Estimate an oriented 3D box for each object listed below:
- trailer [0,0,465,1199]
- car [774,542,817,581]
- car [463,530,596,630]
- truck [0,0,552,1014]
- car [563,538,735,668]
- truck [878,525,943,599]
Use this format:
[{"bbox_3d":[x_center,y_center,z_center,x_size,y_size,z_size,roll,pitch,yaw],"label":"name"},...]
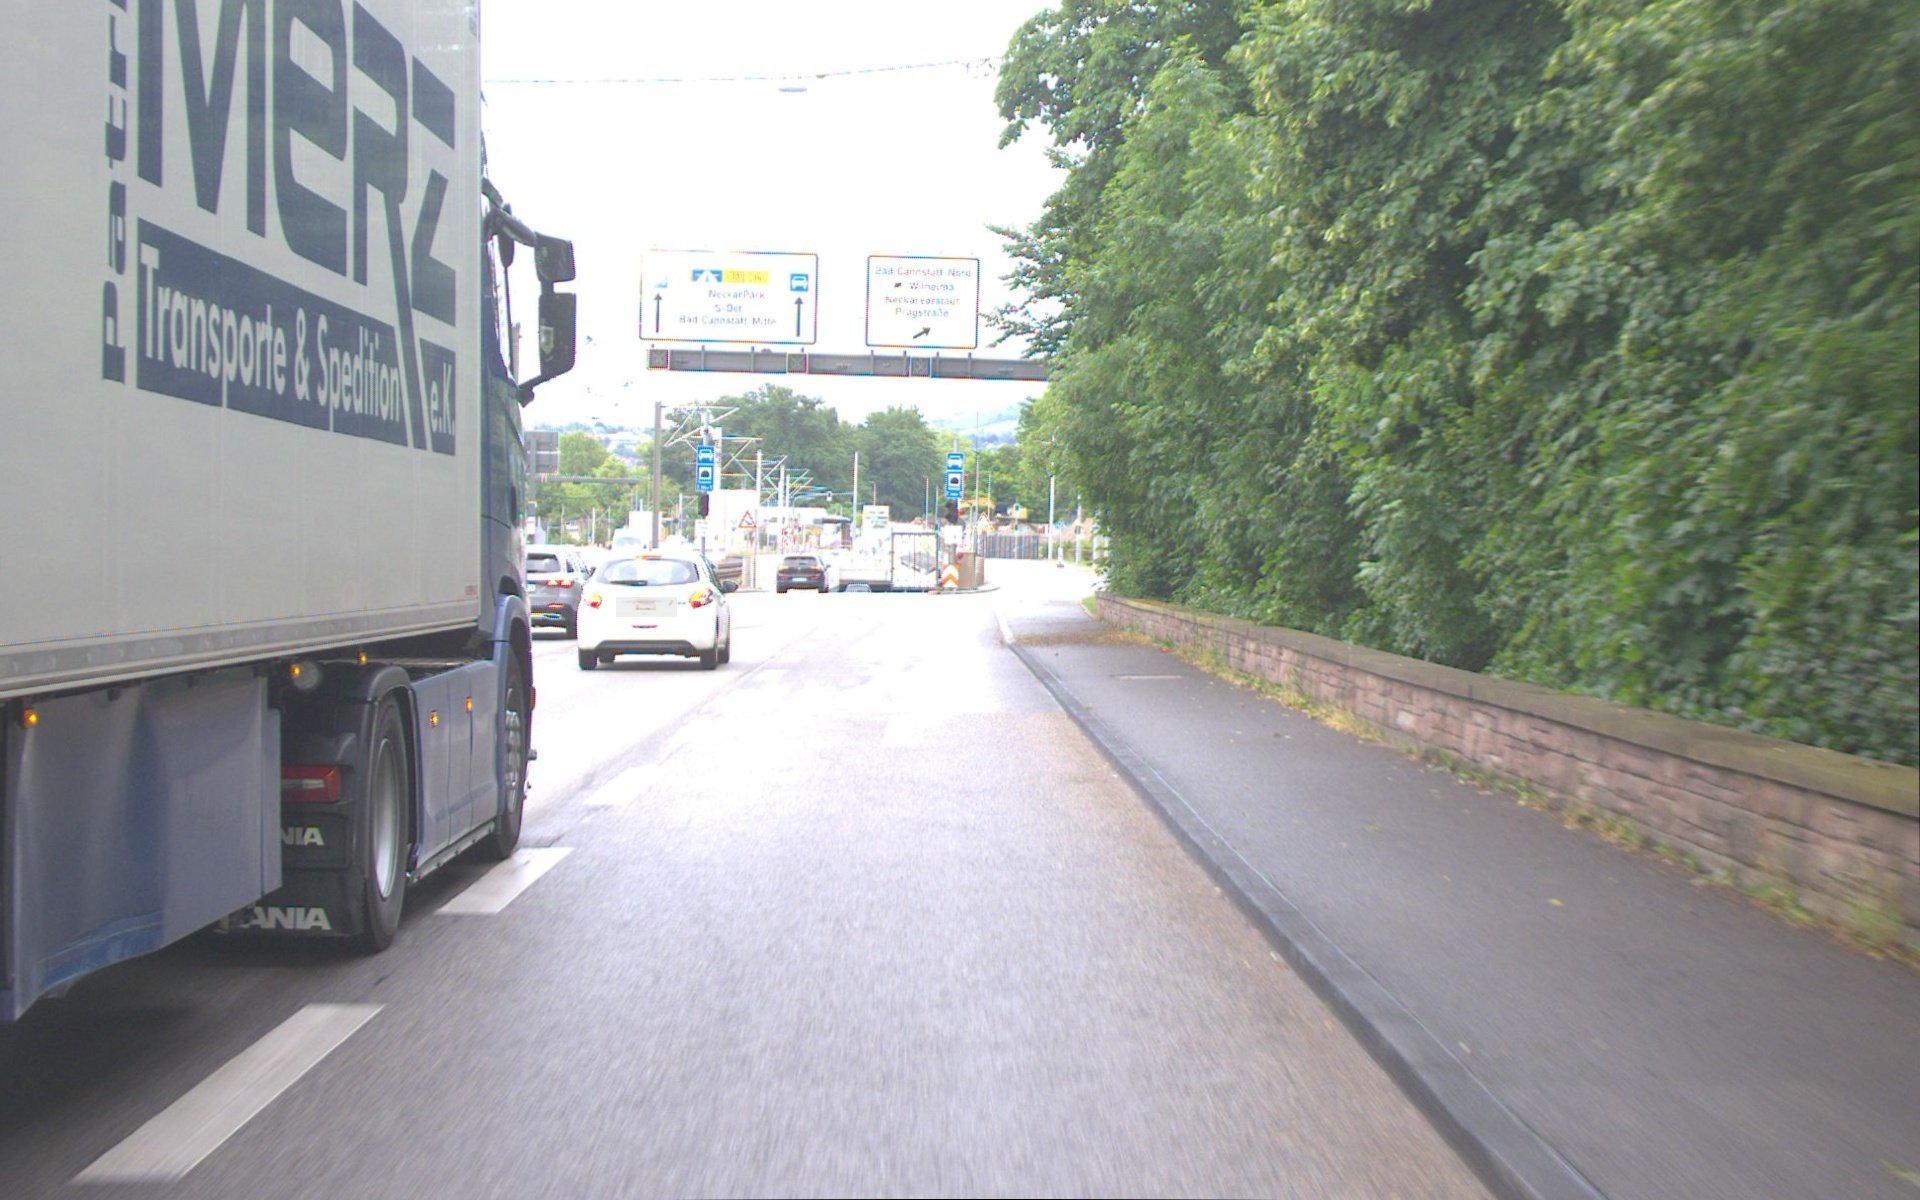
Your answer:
[{"bbox_3d":[-3.368,-0.697,7.550,2.762,4.238,13.184,0,1,0],"label":"trailer"},{"bbox_3d":[-5.975,-1.416,124.936,1.426,1.349,2.960,1,1,-1],"label":"car"},{"bbox_3d":[-6.916,-0.348,55.526,1.681,1.441,4.001,1,3,-1],"label":"car"},{"bbox_3d":[-3.414,-0.816,14.258,2.756,4.190,6.307,0,1,-1],"label":"truck"},{"bbox_3d":[-3.830,-0.004,42.909,1.810,1.419,4.001,1,3,-1],"label":"car"},{"bbox_3d":[-2.719,-2.111,192.427,3.518,4.026,8.074,1,1,0],"label":"truck"}]
